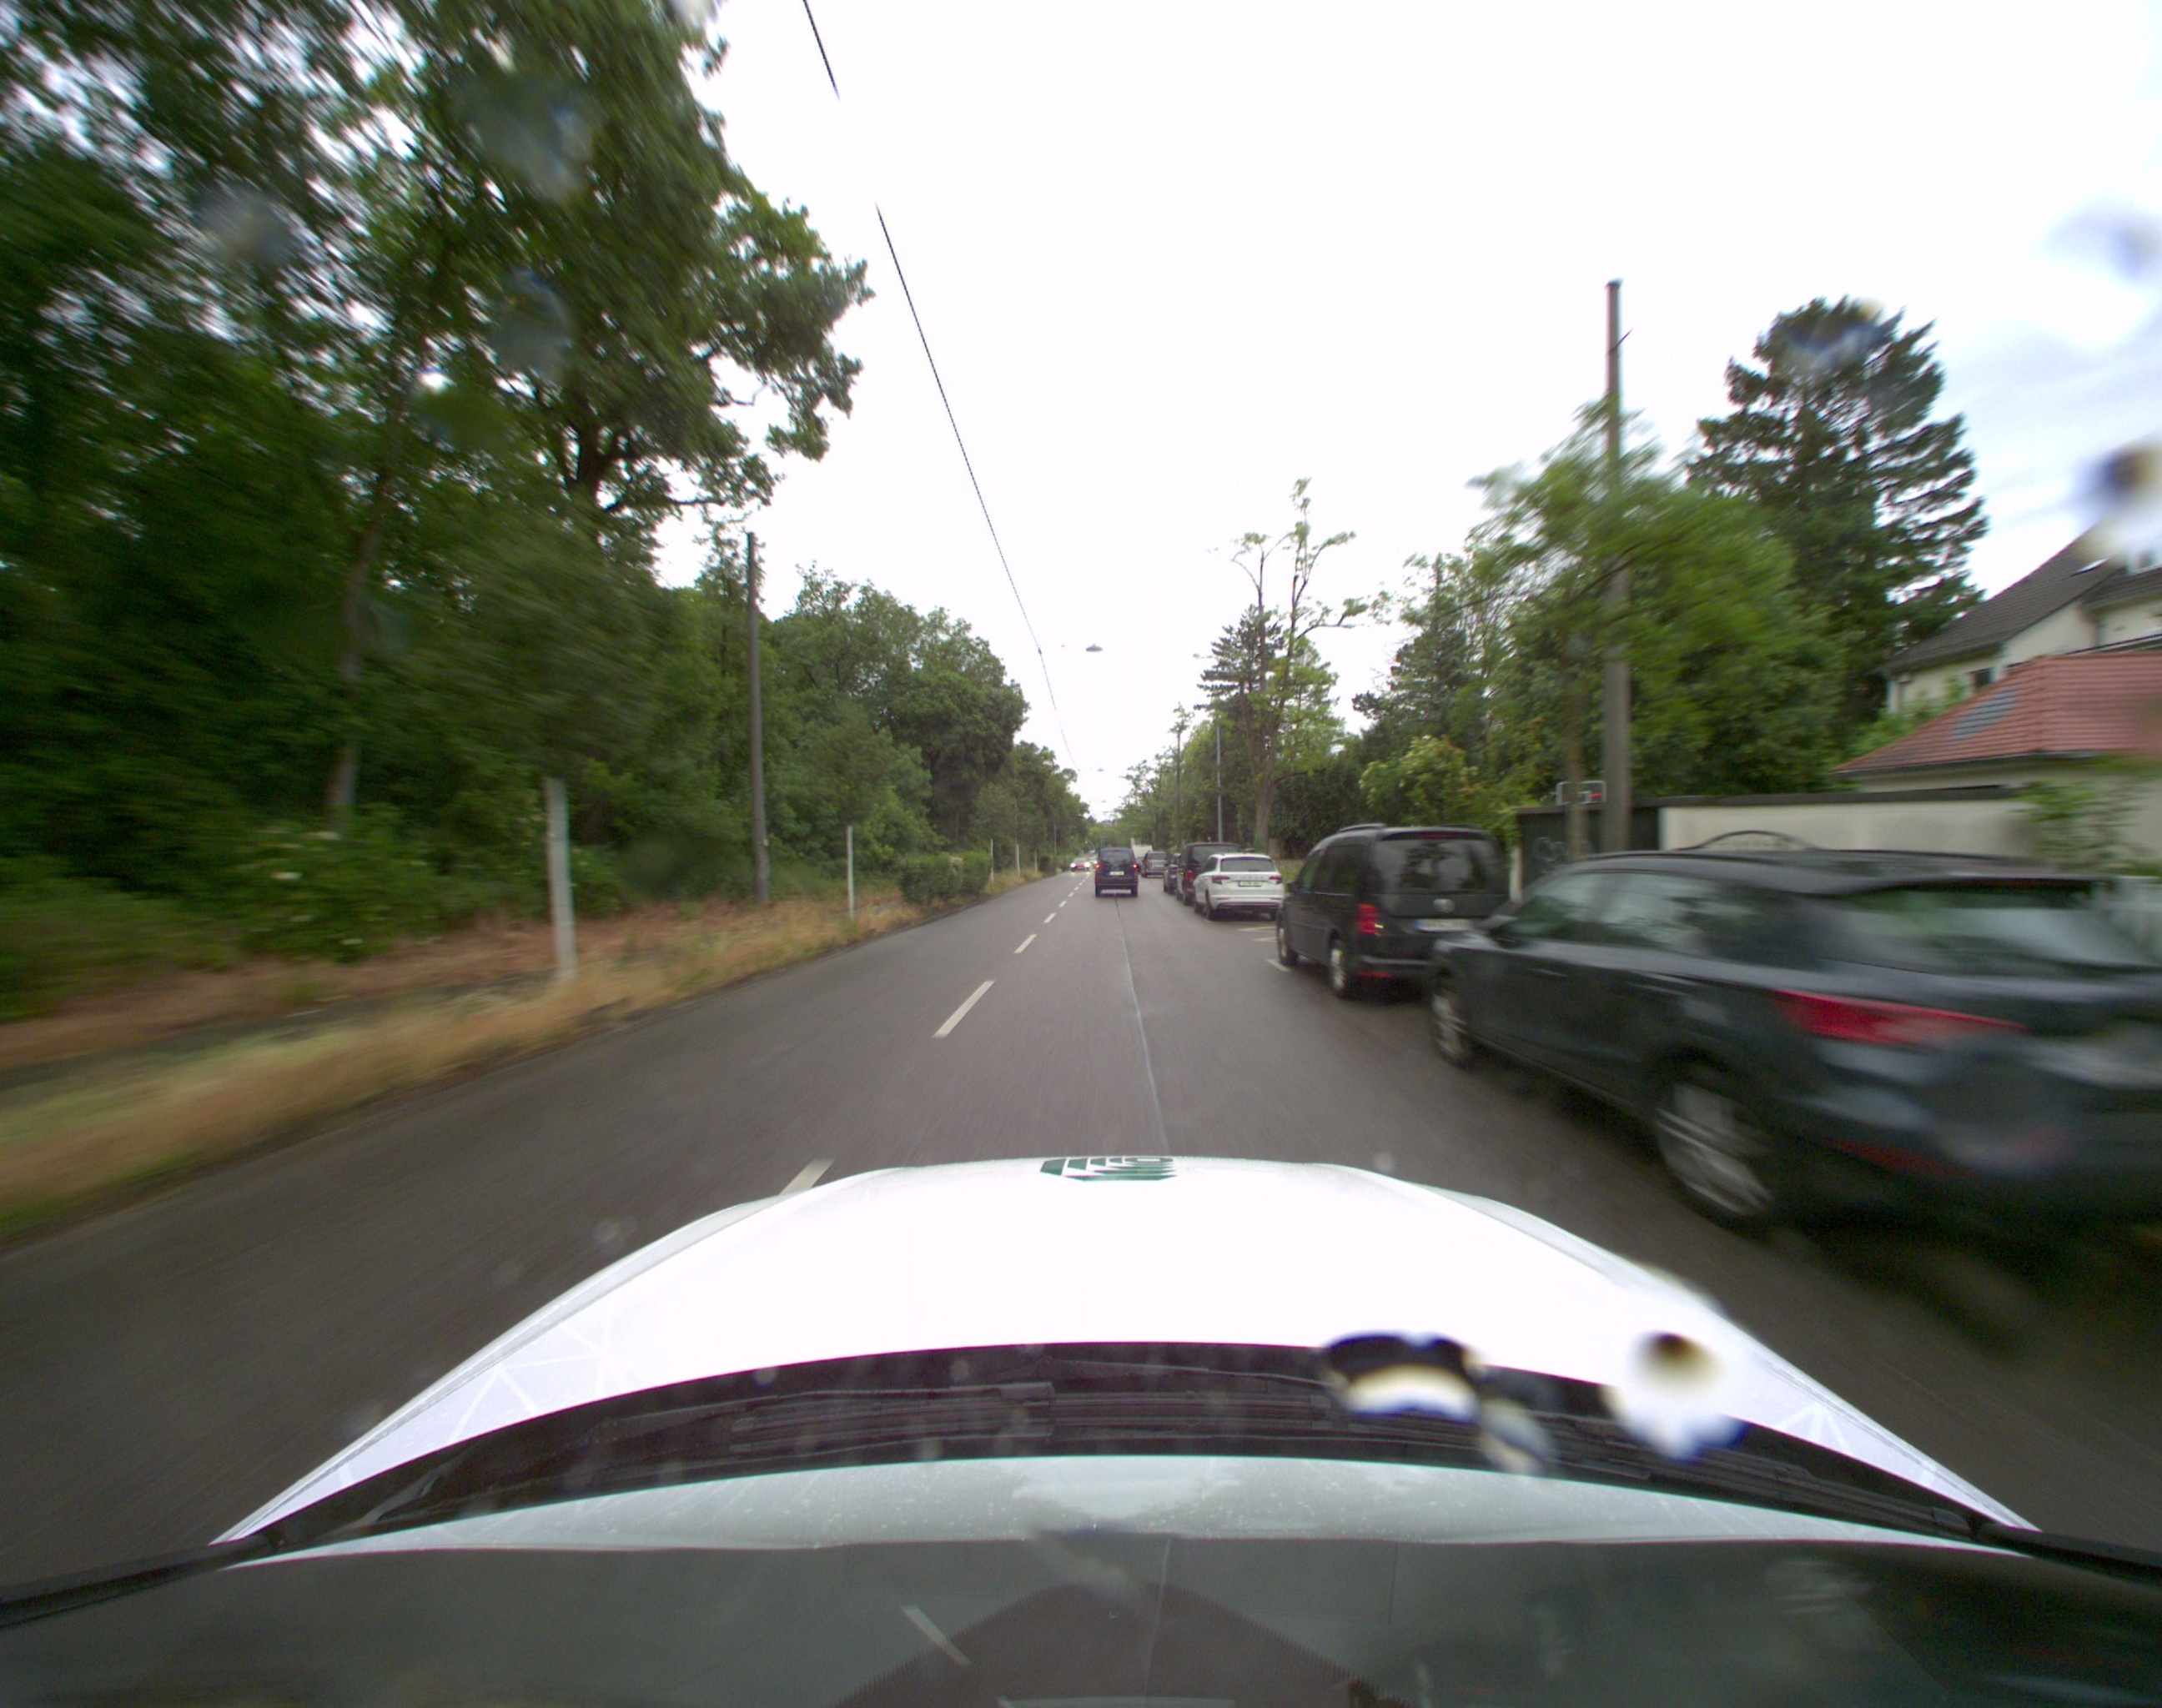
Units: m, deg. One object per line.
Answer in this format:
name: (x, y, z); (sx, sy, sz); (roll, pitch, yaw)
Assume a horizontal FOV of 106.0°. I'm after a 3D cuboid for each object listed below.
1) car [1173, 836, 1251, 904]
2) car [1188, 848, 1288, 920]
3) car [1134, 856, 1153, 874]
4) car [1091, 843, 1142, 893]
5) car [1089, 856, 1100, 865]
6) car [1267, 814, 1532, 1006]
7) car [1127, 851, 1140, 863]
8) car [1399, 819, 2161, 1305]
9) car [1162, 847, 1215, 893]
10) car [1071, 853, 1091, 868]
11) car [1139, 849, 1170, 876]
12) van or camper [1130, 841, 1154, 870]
car: (4.205, 0.450, 26.876); (1.986, 2.013, 4.891); (0, 1, 2)
car: (3.828, 0.672, 20.586); (1.798, 1.613, 4.287); (0, 1, 1)
car: (5.370, 0.923, 69.774); (1.618, 1.464, 3.813); (0, 1, 5)
car: (1.331, 0.490, 31.604); (1.762, 1.830, 3.540); (0, 1, -1)
car: (2.241, 1.075, 137.580); (1.777, 1.479, 3.968); (-2, -1, 1)
car: (3.560, 0.517, 9.989); (1.723, 1.847, 4.232); (0, 1, 2)
car: (7.077, 0.418, 110.742); (1.714, 1.505, 4.053); (0, 1, 2)
car: (3.386, 0.645, 4.646); (1.672, 1.555, 4.078); (0, 1, 2)
car: (4.314, 0.601, 33.326); (1.766, 1.723, 4.329); (0, 1, 2)
car: (0.049, 0.691, 84.365); (1.853, 1.480, 4.159); (-2, 0, 2)
car: (5.138, 0.546, 57.162); (1.808, 1.813, 4.283); (0, 1, 0)
van or camper: (5.798, 0.105, 77.901); (2.070, 2.650, 5.348); (0, 1, 2)
